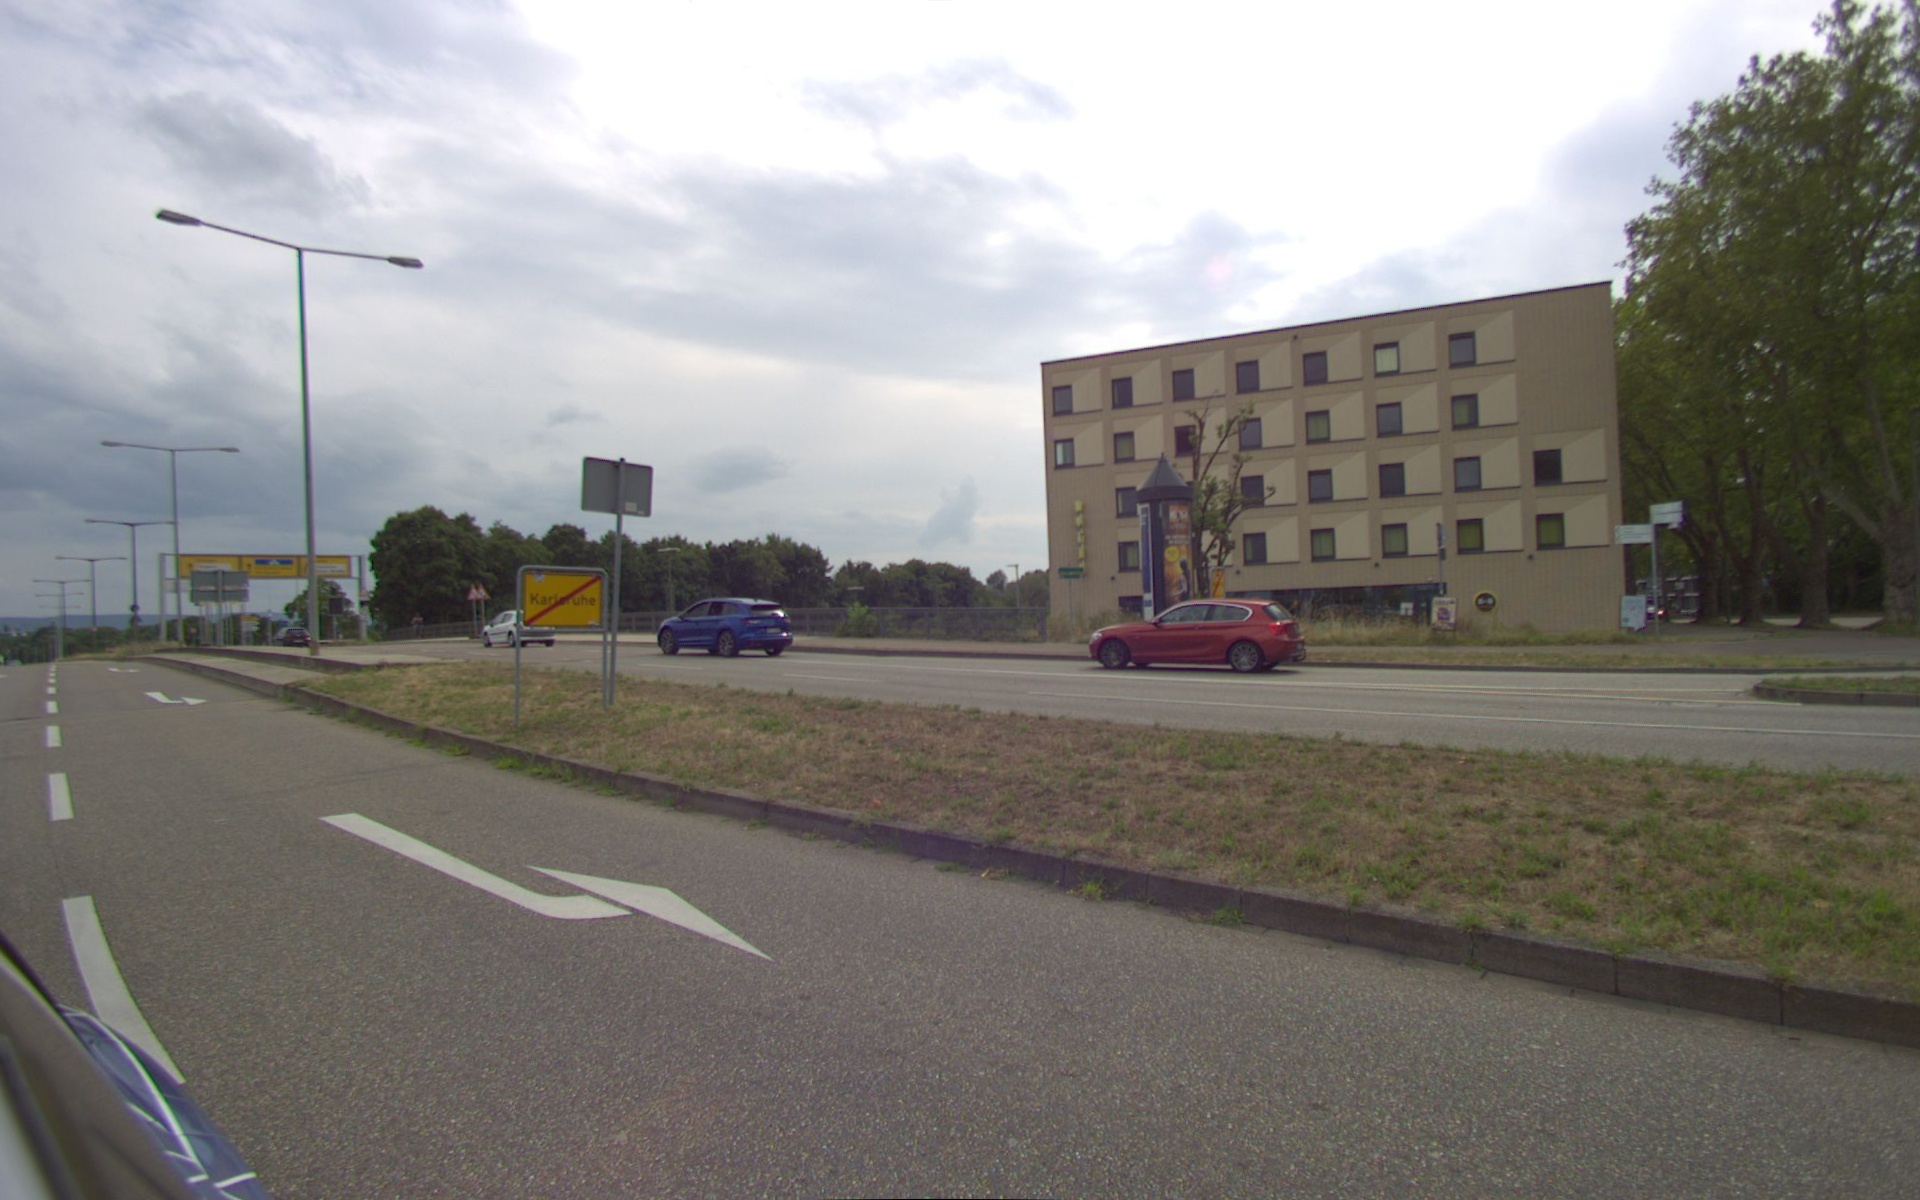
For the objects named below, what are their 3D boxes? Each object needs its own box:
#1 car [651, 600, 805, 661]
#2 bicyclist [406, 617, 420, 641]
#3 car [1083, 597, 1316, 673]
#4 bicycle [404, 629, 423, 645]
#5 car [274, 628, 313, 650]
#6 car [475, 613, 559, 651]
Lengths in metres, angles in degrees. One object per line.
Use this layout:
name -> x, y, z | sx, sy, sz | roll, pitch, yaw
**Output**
car -> -6.599, 0.832, 28.574 | 4.459, 1.572, 1.924 | -1, -1, 40
bicyclist -> -39.086, 2.080, 72.329 | 0.676, 1.684, 0.848 | -1, -1, -43
car -> 4.784, 0.664, 20.350 | 4.199, 1.391, 1.929 | -1, -1, 31
bicycle -> -39.083, 2.635, 72.377 | 0.676, 1.061, 1.996 | -1, -1, -43
car -> -46.227, 2.653, 70.156 | 1.770, 1.429, 4.007 | -1, -1, -40
car -> -18.013, 1.261, 41.115 | 3.876, 1.456, 1.707 | -1, 0, 43
